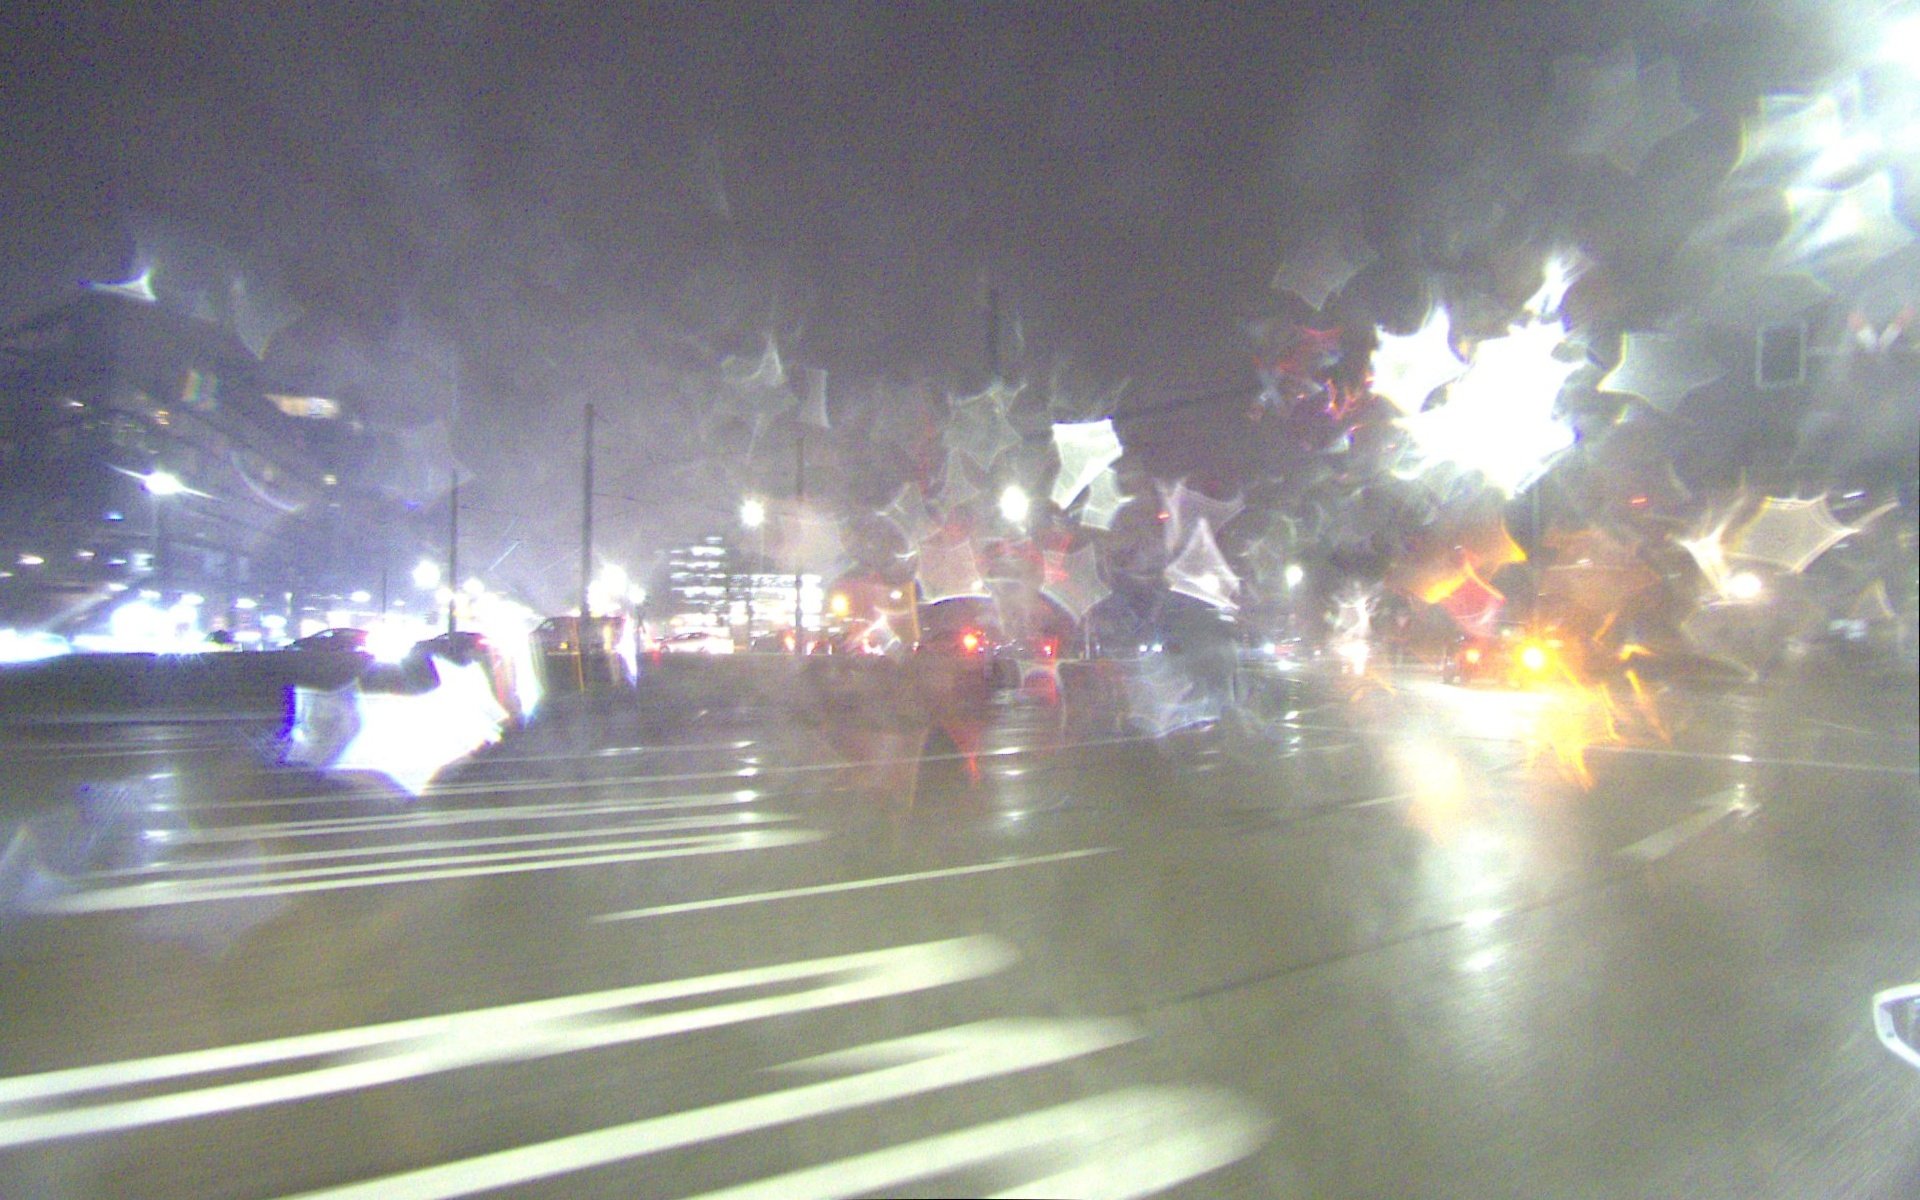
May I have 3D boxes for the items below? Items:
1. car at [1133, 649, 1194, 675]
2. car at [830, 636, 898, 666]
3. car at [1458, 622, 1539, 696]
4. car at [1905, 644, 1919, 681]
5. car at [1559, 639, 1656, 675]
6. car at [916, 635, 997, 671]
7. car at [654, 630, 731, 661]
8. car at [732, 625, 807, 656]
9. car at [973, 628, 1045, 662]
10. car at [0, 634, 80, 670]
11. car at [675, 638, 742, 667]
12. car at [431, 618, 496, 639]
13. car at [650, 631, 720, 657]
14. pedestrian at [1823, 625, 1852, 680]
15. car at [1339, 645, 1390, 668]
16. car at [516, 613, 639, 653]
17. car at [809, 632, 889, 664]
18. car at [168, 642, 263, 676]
[{"bbox_3d":[14.385,4.394,71.004,3.838,1.661,1.853,3,-2,-24],"label":"car"},{"bbox_3d":[-5.580,2.960,58.301,3.562,1.599,1.735,1,-2,27],"label":"car"},{"bbox_3d":[16.635,1.791,31.235,1.962,2.040,4.554,1,-2,26],"label":"car"},{"bbox_3d":[47.148,3.004,47.081,1.778,1.704,4.021,3,-2,-40],"label":"car"},{"bbox_3d":[34.797,3.052,54.084,1.898,1.706,3.964,3,-2,-33],"label":"car"},{"bbox_3d":[-0.226,2.698,51.434,3.944,1.637,1.826,0,-2,43],"label":"car"},{"bbox_3d":[-15.656,2.667,58.990,3.919,1.637,1.838,2,-2,5],"label":"car"},{"bbox_3d":[-10.864,2.316,57.216,3.889,1.599,1.736,1,-2,25],"label":"car"},{"bbox_3d":[2.562,2.362,52.926,1.726,1.599,3.581,3,-2,-44],"label":"car"},{"bbox_3d":[-46.072,2.536,49.396,1.737,1.639,3.876,2,-2,13],"label":"car"},{"bbox_3d":[-15.405,3.208,61.540,3.555,1.599,1.738,2,-2,10],"label":"car"},{"bbox_3d":[-36.870,2.127,74.670,1.799,1.463,4.015,1,-2,26],"label":"car"},{"bbox_3d":[-17.470,2.778,63.872,3.919,1.505,1.770,2,-2,12],"label":"car"},{"bbox_3d":[31.085,1.860,35.584,0.642,1.927,0.727,1,-2,31],"label":"pedestrian"},{"bbox_3d":[34.049,4.726,84.461,4.348,1.781,1.861,3,-2,-33],"label":"car"},{"bbox_3d":[-22.462,1.956,59.192,6.194,2.116,2.514,2,-2,-5],"label":"car"},{"bbox_3d":[-6.096,2.616,55.189,3.889,1.599,1.876,1,-2,24],"label":"car"},{"bbox_3d":[-40.203,3.158,54.350,1.737,1.639,3.876,2,-2,13],"label":"car"}]
